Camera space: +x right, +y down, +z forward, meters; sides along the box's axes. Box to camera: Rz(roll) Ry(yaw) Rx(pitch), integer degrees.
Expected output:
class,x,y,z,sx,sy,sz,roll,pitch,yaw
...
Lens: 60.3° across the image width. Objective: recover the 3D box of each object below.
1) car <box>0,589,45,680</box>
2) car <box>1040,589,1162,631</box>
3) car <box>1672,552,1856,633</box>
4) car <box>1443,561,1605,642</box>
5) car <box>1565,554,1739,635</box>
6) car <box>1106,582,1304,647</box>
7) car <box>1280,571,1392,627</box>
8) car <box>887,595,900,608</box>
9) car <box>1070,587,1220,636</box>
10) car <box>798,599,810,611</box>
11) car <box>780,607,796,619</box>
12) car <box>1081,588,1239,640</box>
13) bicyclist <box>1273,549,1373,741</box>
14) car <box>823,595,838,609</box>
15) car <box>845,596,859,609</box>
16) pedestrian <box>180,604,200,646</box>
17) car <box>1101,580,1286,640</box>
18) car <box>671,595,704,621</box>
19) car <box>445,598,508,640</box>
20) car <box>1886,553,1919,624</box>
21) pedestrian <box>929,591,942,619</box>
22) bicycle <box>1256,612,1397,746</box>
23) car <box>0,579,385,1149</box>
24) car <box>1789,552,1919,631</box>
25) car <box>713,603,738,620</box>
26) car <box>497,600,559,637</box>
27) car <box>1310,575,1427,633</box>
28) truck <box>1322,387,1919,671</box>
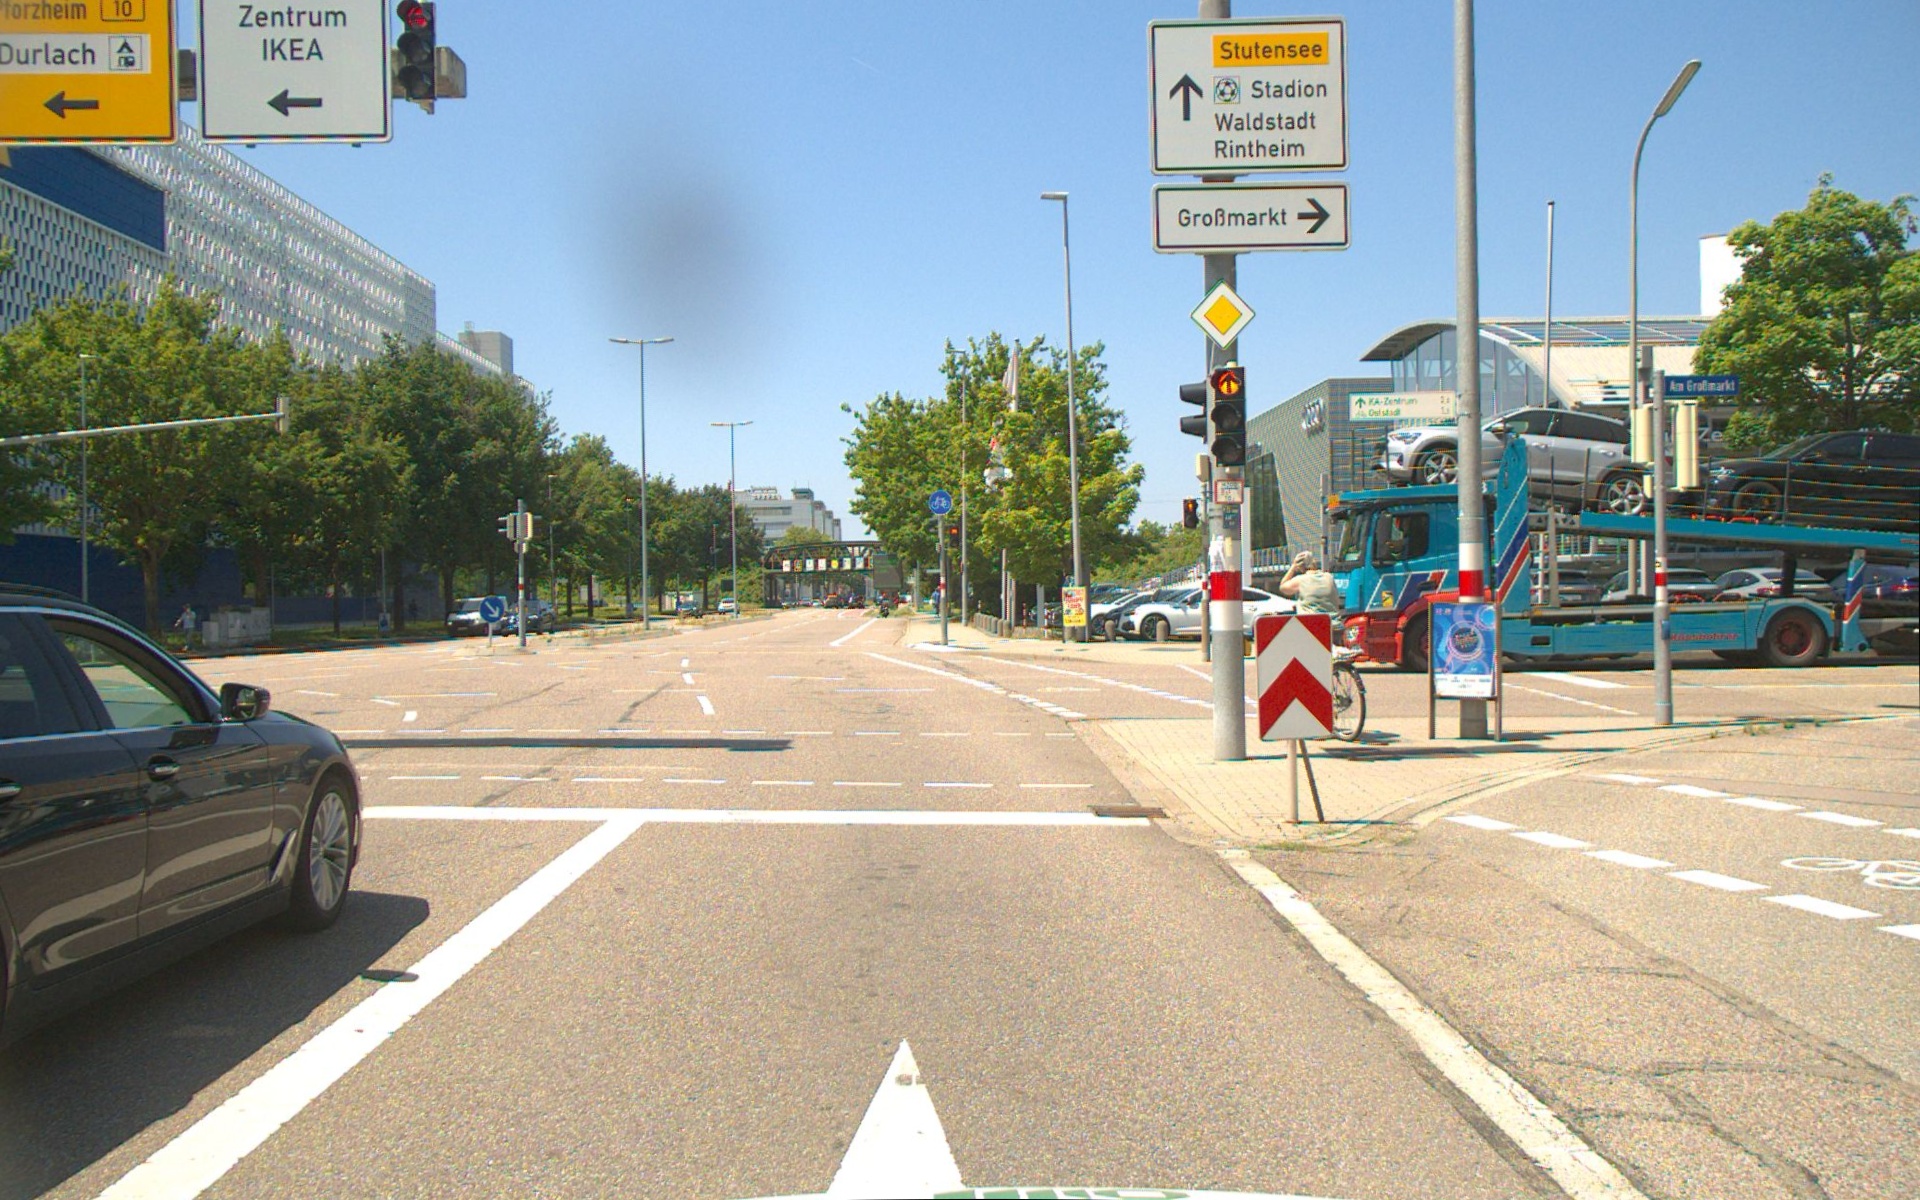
class,x,y,z,sx,sy,sz,roll,pitch,yaw
car,-19.709,0.652,31.170,4.105,1.680,1.716,-1,0,8
car,5.681,0.387,67.055,4.648,1.482,1.999,-2,1,-4
car,18.113,-0.195,37.526,1.847,1.668,4.523,-2,1,-2
car,12.632,-0.011,37.383,1.953,1.668,4.556,-1,1,-2
car,15.594,-0.148,37.546,1.953,1.668,4.440,-2,1,-2
car,6.052,0.354,41.313,4.644,1.482,2.000,-1,1,0
car,14.742,-0.053,64.978,3.906,2.049,2.000,-1,0,-1
car,-9.145,0.167,227.058,1.736,1.758,3.998,-2,0,-2
car,6.080,0.349,54.689,4.647,1.482,1.999,-1,1,-4
car,-23.387,0.736,248.034,1.616,1.682,4.160,-1,0,-4
car,-21.187,1.601,203.640,1.697,1.452,3.704,-3,0,-2
car,6.236,0.410,51.960,4.647,1.482,1.999,-1,1,-4
bicyclist,3.440,0.410,15.720,0.719,1.779,0.753,0,1,-6
car,-17.523,0.259,223.941,1.736,1.758,3.998,-2,0,-2
car,-14.860,0.349,227.820,1.736,1.758,3.998,-2,0,-2
pedestrian,-28.460,0.919,61.131,0.452,1.508,0.483,-2,0,2
car,6.155,0.272,44.027,4.644,1.482,2.000,-1,-1,0
car,-23.183,0.682,140.733,1.952,2.049,4.000,-1,-2,2
car,-25.034,0.977,85.756,1.953,2.043,4.762,-2,0,-2
car,23.338,-0.272,37.695,1.791,1.668,4.472,-1,1,-3
pedestrian,-1.349,0.251,91.966,0.654,1.537,0.736,-1,0,-2
bicycle,3.461,0.714,15.801,0.771,1.147,1.919,0,1,-5
car,-3.441,0.680,5.306,1.764,1.491,4.621,0,1,-3
car,20.972,-0.226,37.673,1.791,1.668,4.473,-2,1,-2
car,-23.618,1.171,166.827,1.887,1.694,4.089,-2,0,1
car,-20.188,0.836,77.457,1.837,1.626,4.494,-2,0,-2
car,15.479,0.141,62.819,3.906,2.049,2.000,-1,0,-1
truck,11.376,-1.110,26.844,10.393,4.153,3.103,-1,1,5
